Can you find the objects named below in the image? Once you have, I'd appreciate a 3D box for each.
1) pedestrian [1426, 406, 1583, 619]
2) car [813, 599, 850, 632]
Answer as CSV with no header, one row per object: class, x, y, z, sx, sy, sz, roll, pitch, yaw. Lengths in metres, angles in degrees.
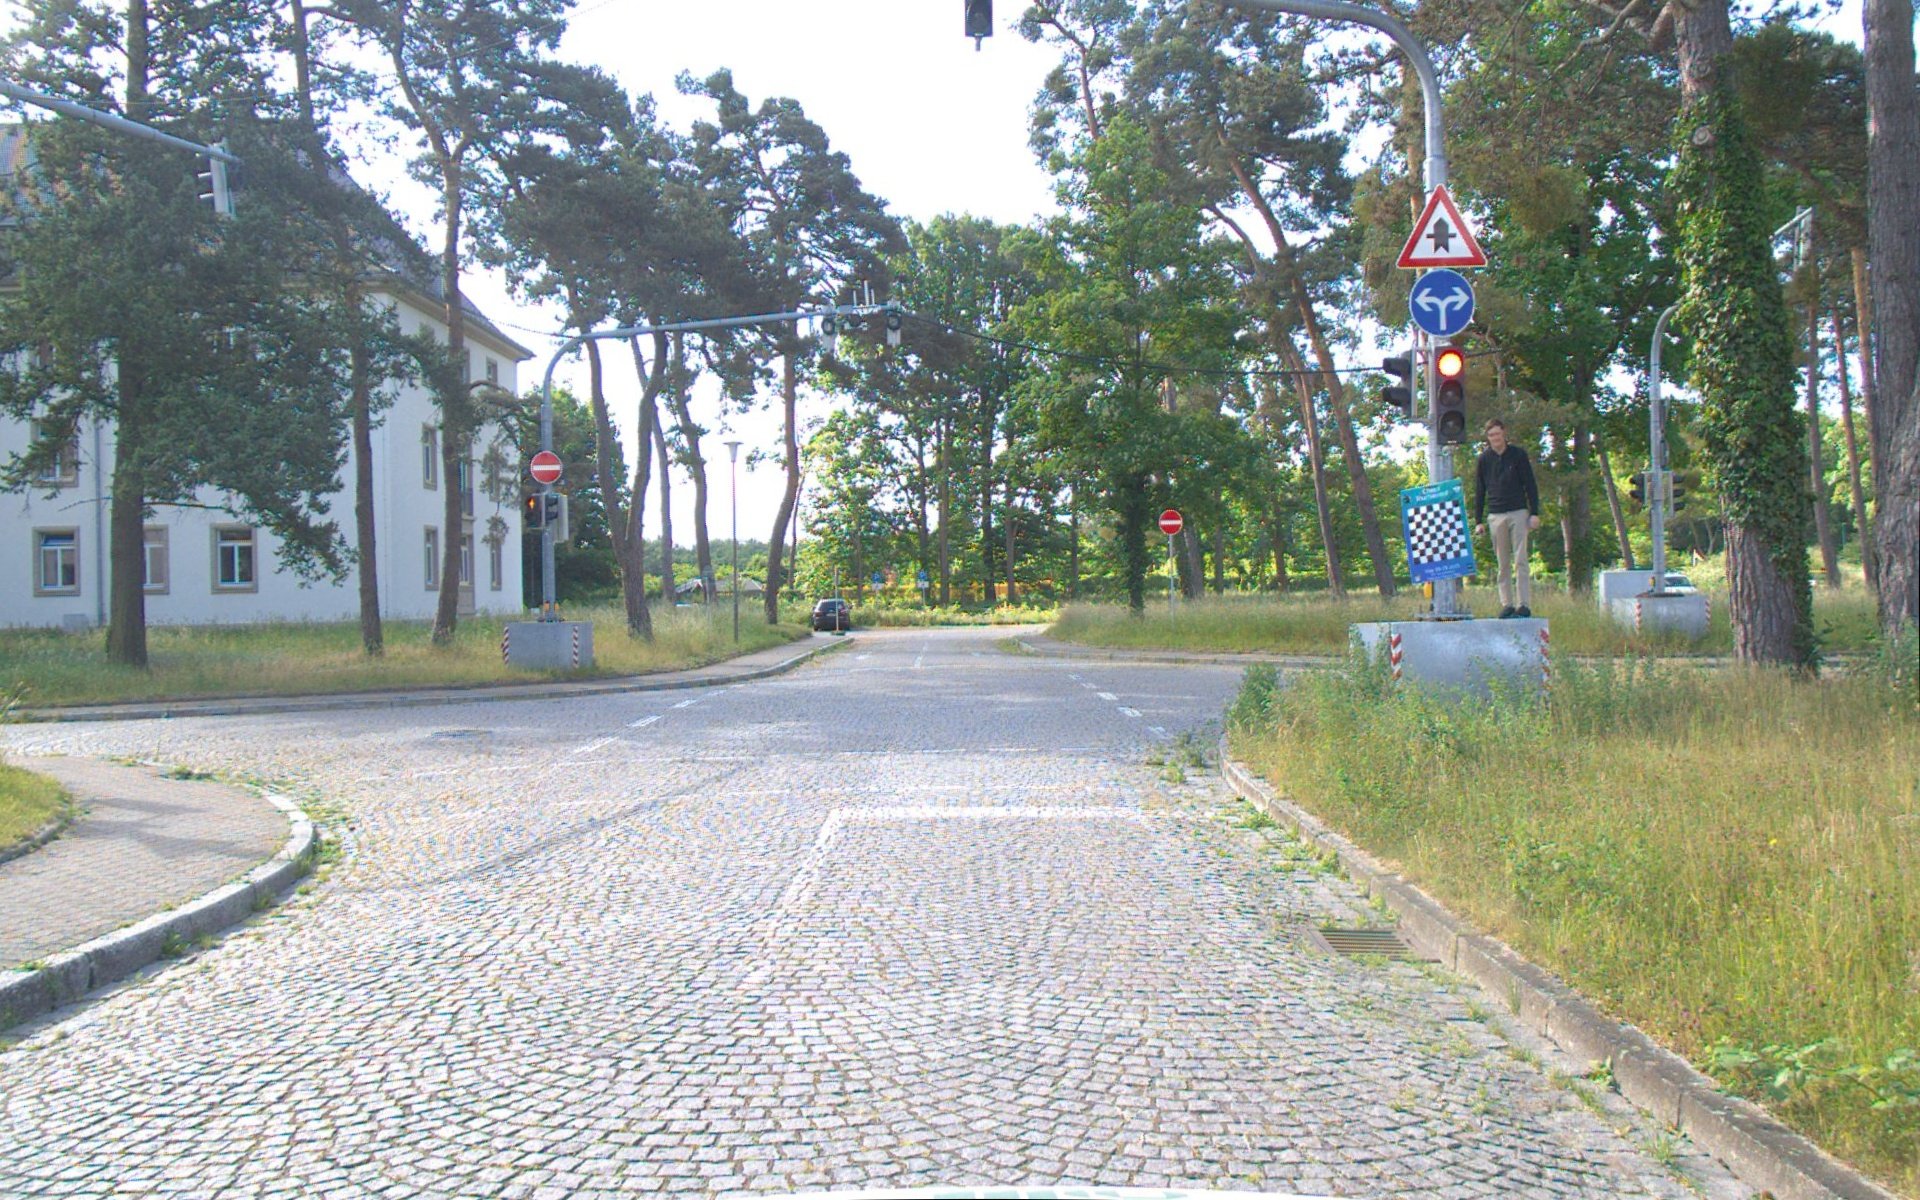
pedestrian,4.999,-0.769,15.147,1.146,1.827,1.061,-2,0,29
car,-6.409,0.750,82.680,1.675,1.522,3.917,-2,0,-3
